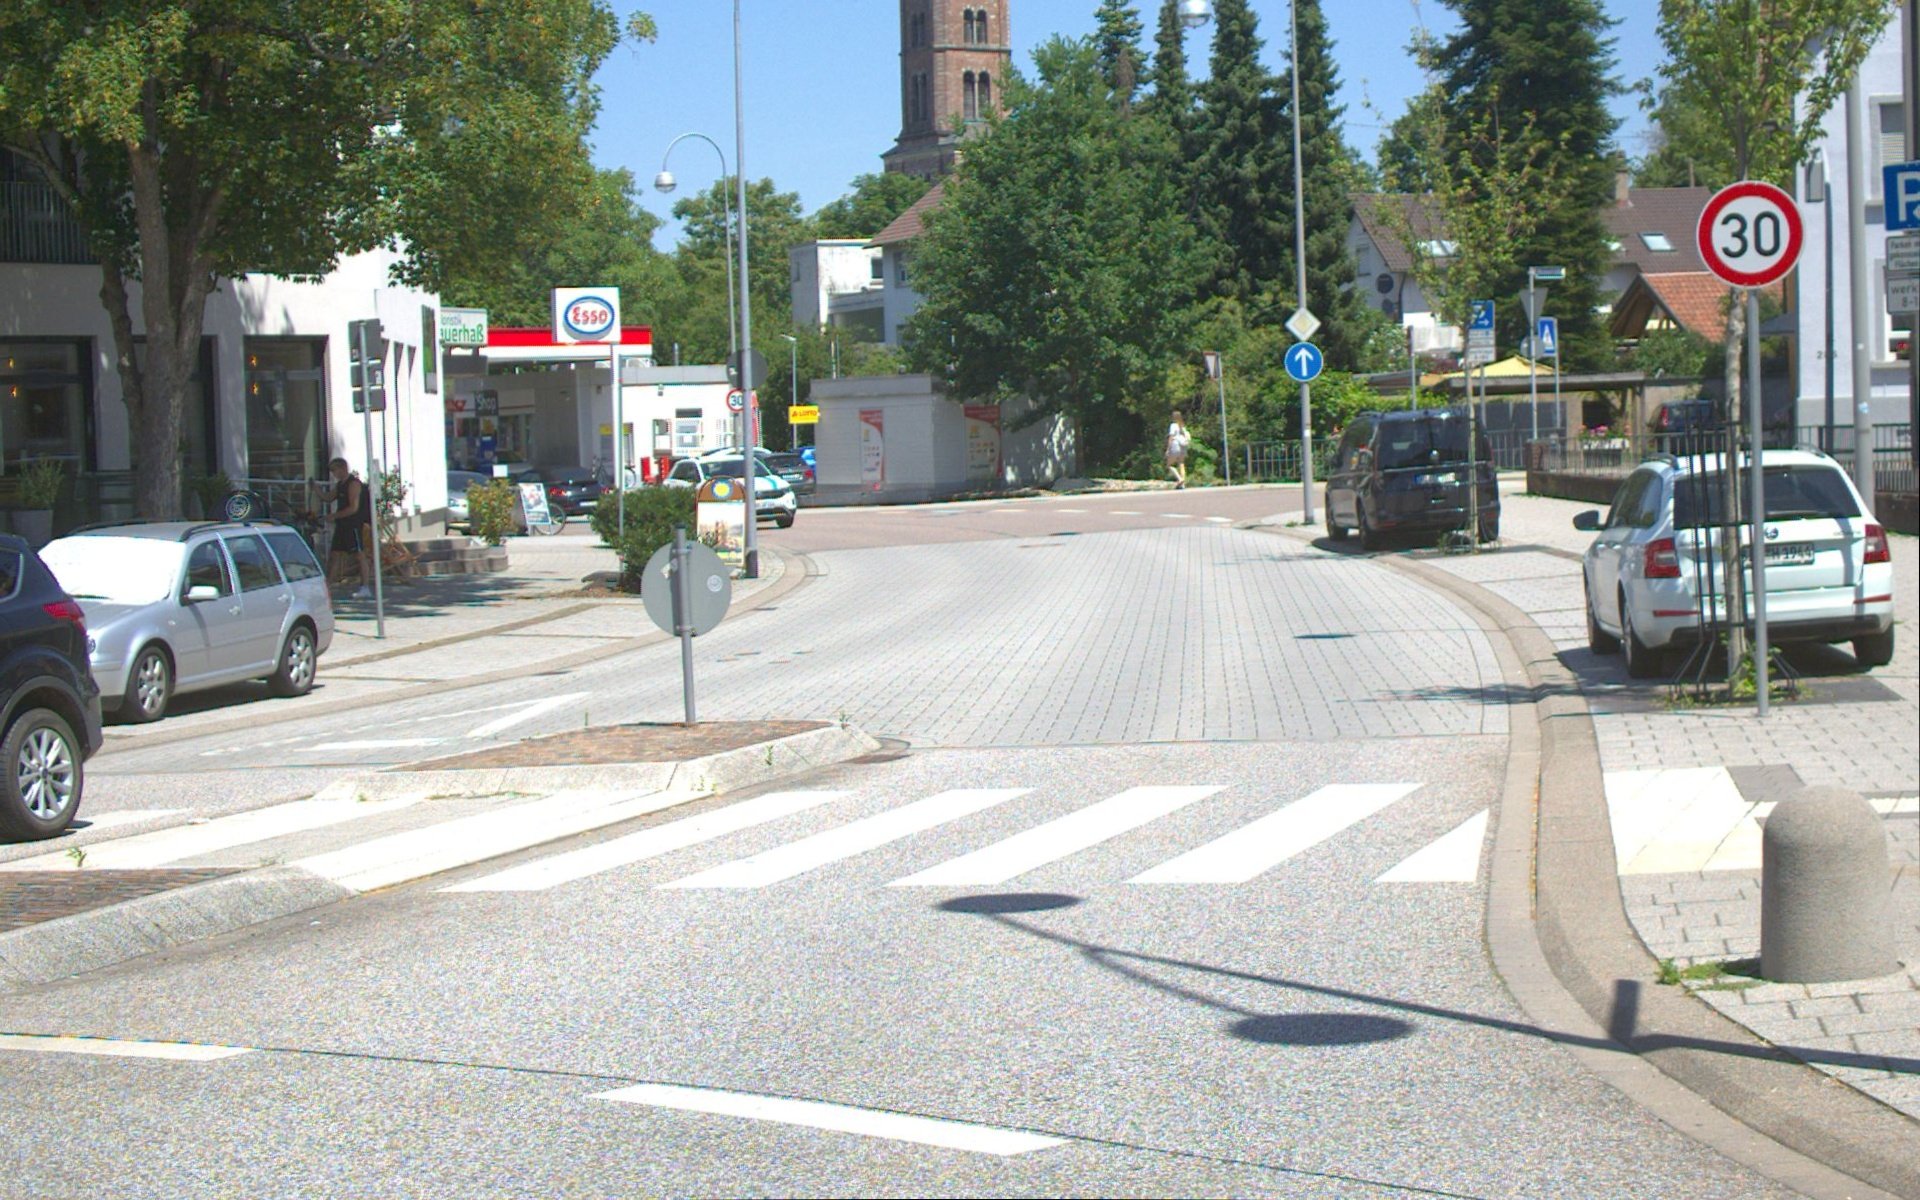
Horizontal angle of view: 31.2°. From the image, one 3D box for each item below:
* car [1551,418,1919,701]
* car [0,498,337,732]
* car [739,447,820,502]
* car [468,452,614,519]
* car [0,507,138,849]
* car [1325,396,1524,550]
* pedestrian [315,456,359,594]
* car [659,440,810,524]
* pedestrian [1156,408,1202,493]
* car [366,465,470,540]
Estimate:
[{"bbox_3d":[5.332,-0.356,23.756,1.994,1.579,4.287,-6,2,6],"label":"car"},{"bbox_3d":[-6.717,0.046,27.580,1.797,1.584,3.998,1,4,16],"label":"car"},{"bbox_3d":[-4.822,-3.352,91.576,1.540,1.373,4.002,-3,3,-11],"label":"car"},{"bbox_3d":[-10.663,-2.899,87.349,1.832,1.568,3.999,-4,3,-38],"label":"car"},{"bbox_3d":[-6.149,0.506,16.621,1.995,1.682,4.523,-2,3,20],"label":"car"},{"bbox_3d":[6.292,-1.787,47.017,1.993,1.858,4.289,-1,5,-2],"label":"car"},{"bbox_3d":[-7.553,-0.916,41.685,0.405,1.622,0.651,-1,5,-3],"label":"pedestrian"},{"bbox_3d":[-4.650,-2.435,70.322,1.831,1.568,4.001,-4,4,-22],"label":"car"},{"bbox_3d":[4.787,-3.282,75.188,0.843,1.807,0.549,-4,6,-31],"label":"pedestrian"},{"bbox_3d":[-12.283,-2.223,77.739,1.831,1.568,4.002,-3,3,-15],"label":"car"}]
